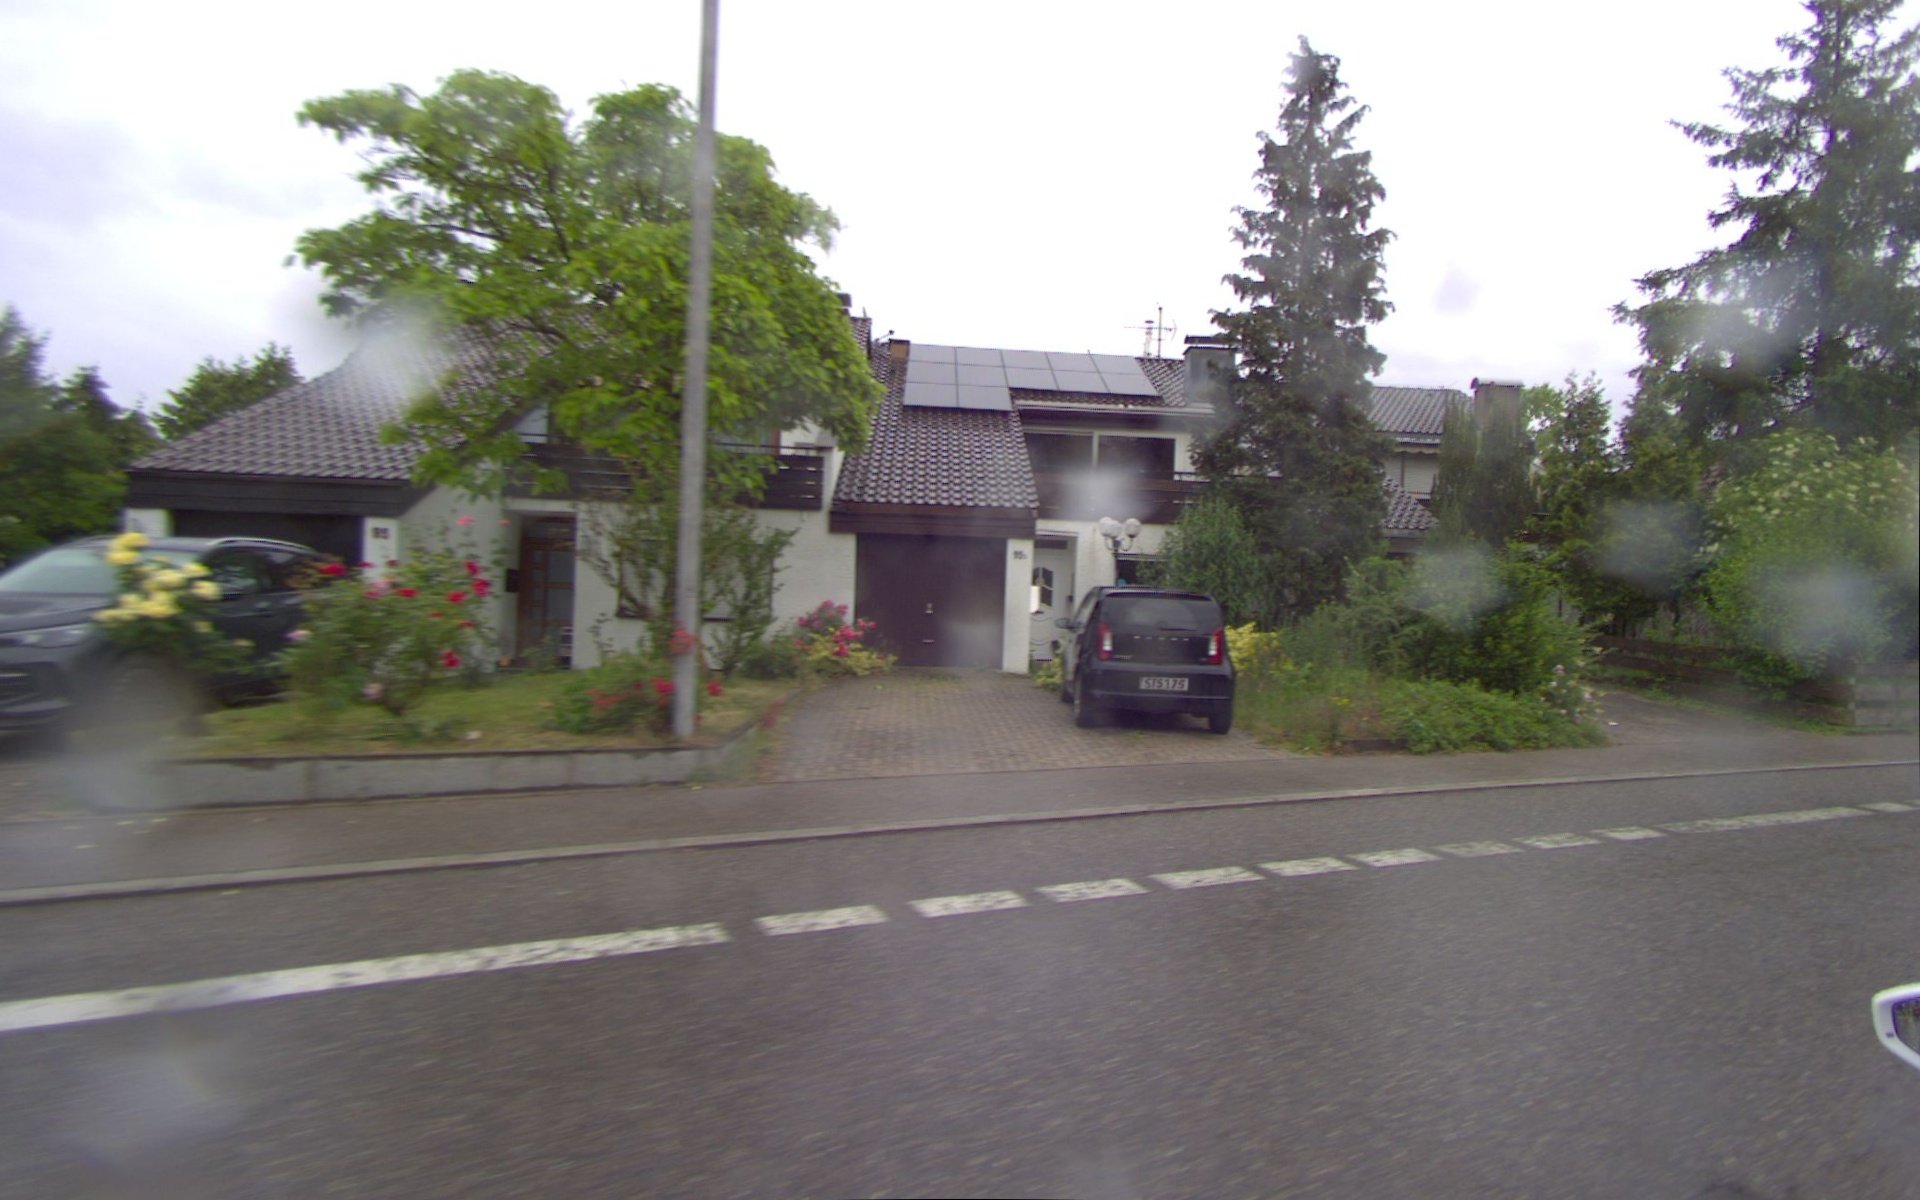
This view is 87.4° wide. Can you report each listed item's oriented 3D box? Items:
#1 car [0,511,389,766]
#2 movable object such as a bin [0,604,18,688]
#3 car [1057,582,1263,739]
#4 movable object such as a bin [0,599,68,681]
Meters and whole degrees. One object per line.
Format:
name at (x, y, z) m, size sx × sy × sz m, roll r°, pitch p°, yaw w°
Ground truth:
car at (-6.964, 0.207, 8.516) m, size 1.974 × 1.653 × 3.999 m, roll 1°, pitch 1°, yaw 0°
movable object such as a bin at (-10.915, 0.505, 10.880) m, size 0.730 × 0.915 × 0.728 m, roll 1°, pitch 0°, yaw -7°
car at (2.158, 0.557, 11.765) m, size 1.901 × 1.408 × 4.002 m, roll 3°, pitch 1°, yaw 6°
movable object such as a bin at (-11.013, 0.450, 11.626) m, size 0.730 × 0.915 × 0.728 m, roll 1°, pitch 0°, yaw -7°
